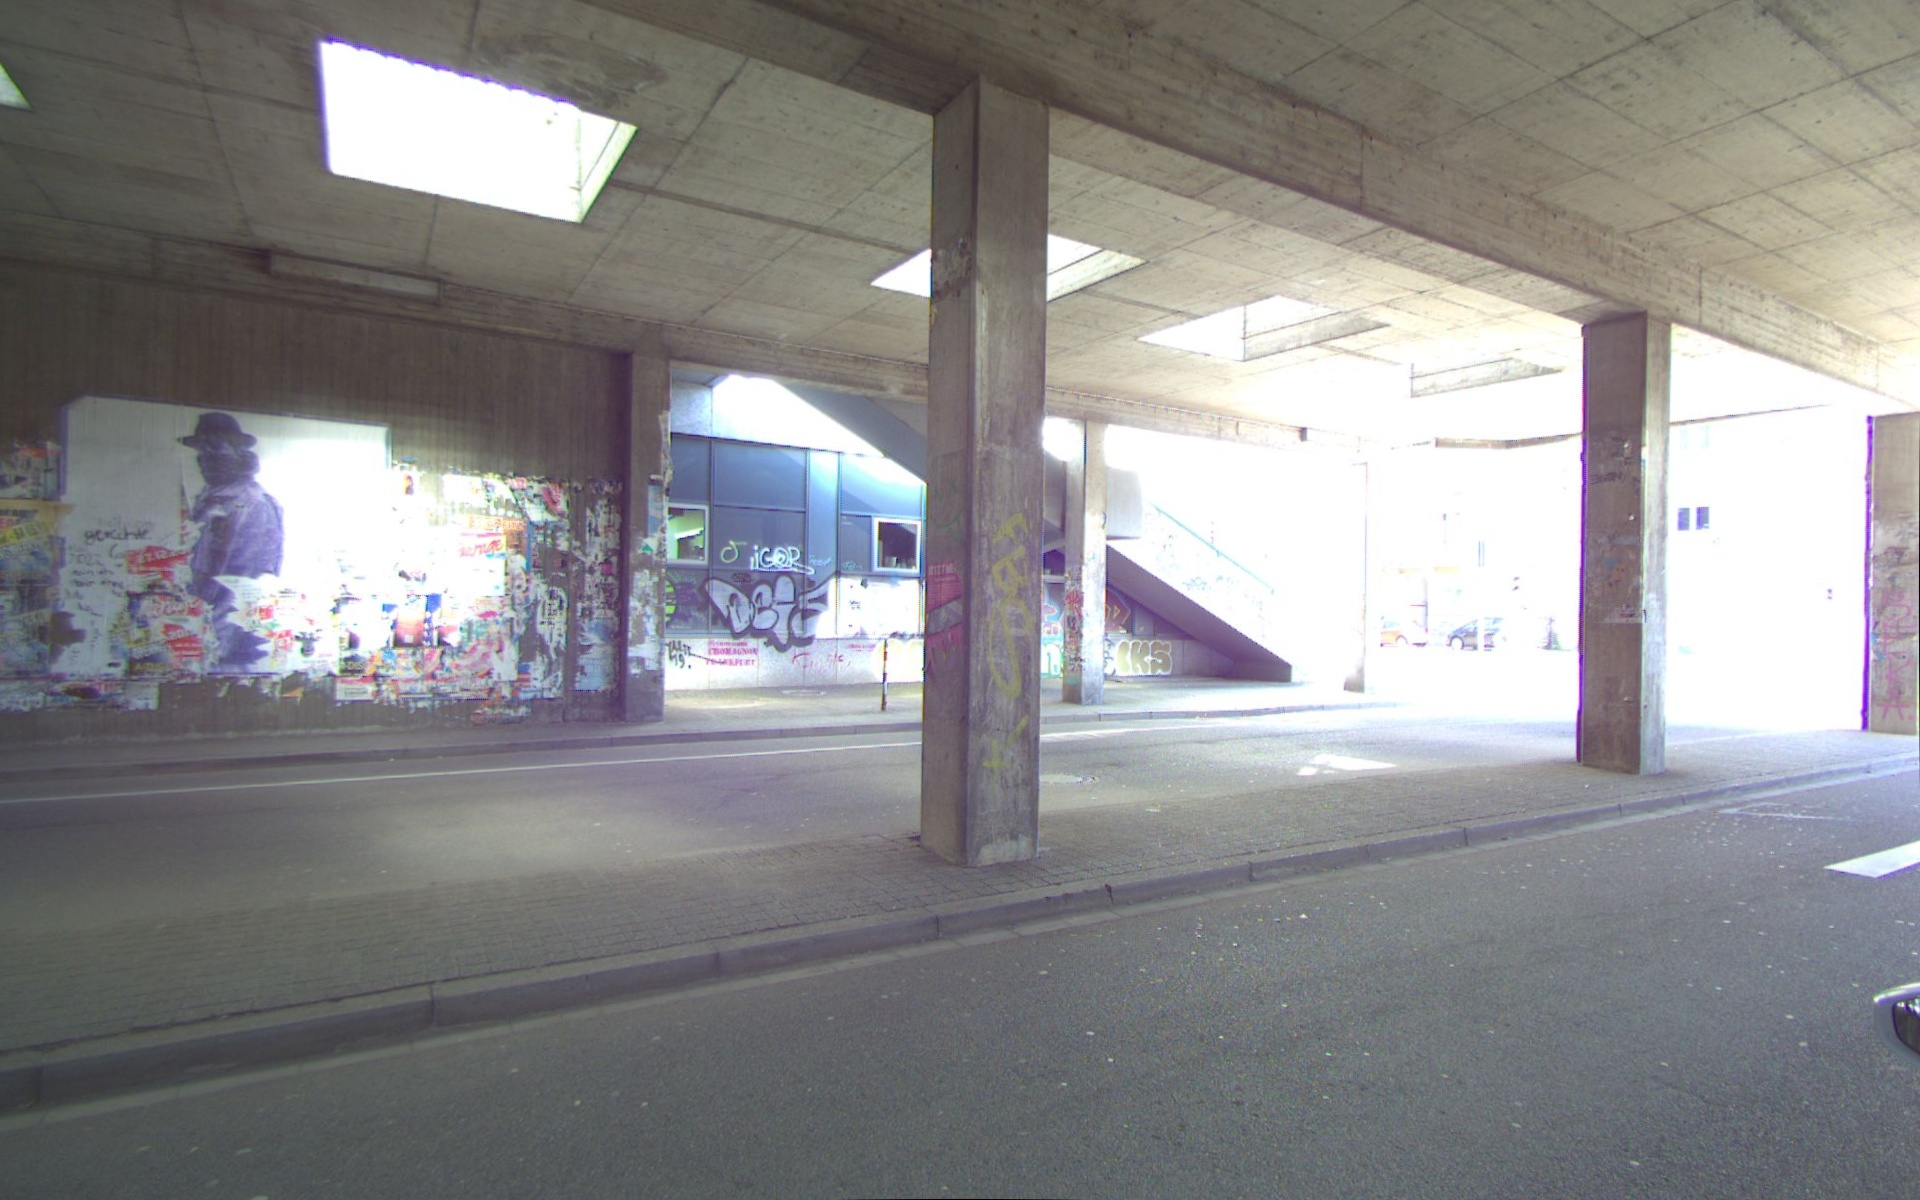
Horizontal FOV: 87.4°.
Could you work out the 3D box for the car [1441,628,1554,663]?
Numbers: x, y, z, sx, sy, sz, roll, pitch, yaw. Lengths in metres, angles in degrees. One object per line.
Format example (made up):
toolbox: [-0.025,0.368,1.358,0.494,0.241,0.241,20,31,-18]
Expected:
car: [25.441,2.126,47.707,1.905,1.428,4.382,2,0,-32]

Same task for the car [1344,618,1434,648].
car: [22.476,1.720,52.765,1.905,1.428,3.965,2,0,-32]

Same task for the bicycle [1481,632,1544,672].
bicycle: [17.371,1.624,31.617,0.470,1.133,1.734,2,0,-27]
